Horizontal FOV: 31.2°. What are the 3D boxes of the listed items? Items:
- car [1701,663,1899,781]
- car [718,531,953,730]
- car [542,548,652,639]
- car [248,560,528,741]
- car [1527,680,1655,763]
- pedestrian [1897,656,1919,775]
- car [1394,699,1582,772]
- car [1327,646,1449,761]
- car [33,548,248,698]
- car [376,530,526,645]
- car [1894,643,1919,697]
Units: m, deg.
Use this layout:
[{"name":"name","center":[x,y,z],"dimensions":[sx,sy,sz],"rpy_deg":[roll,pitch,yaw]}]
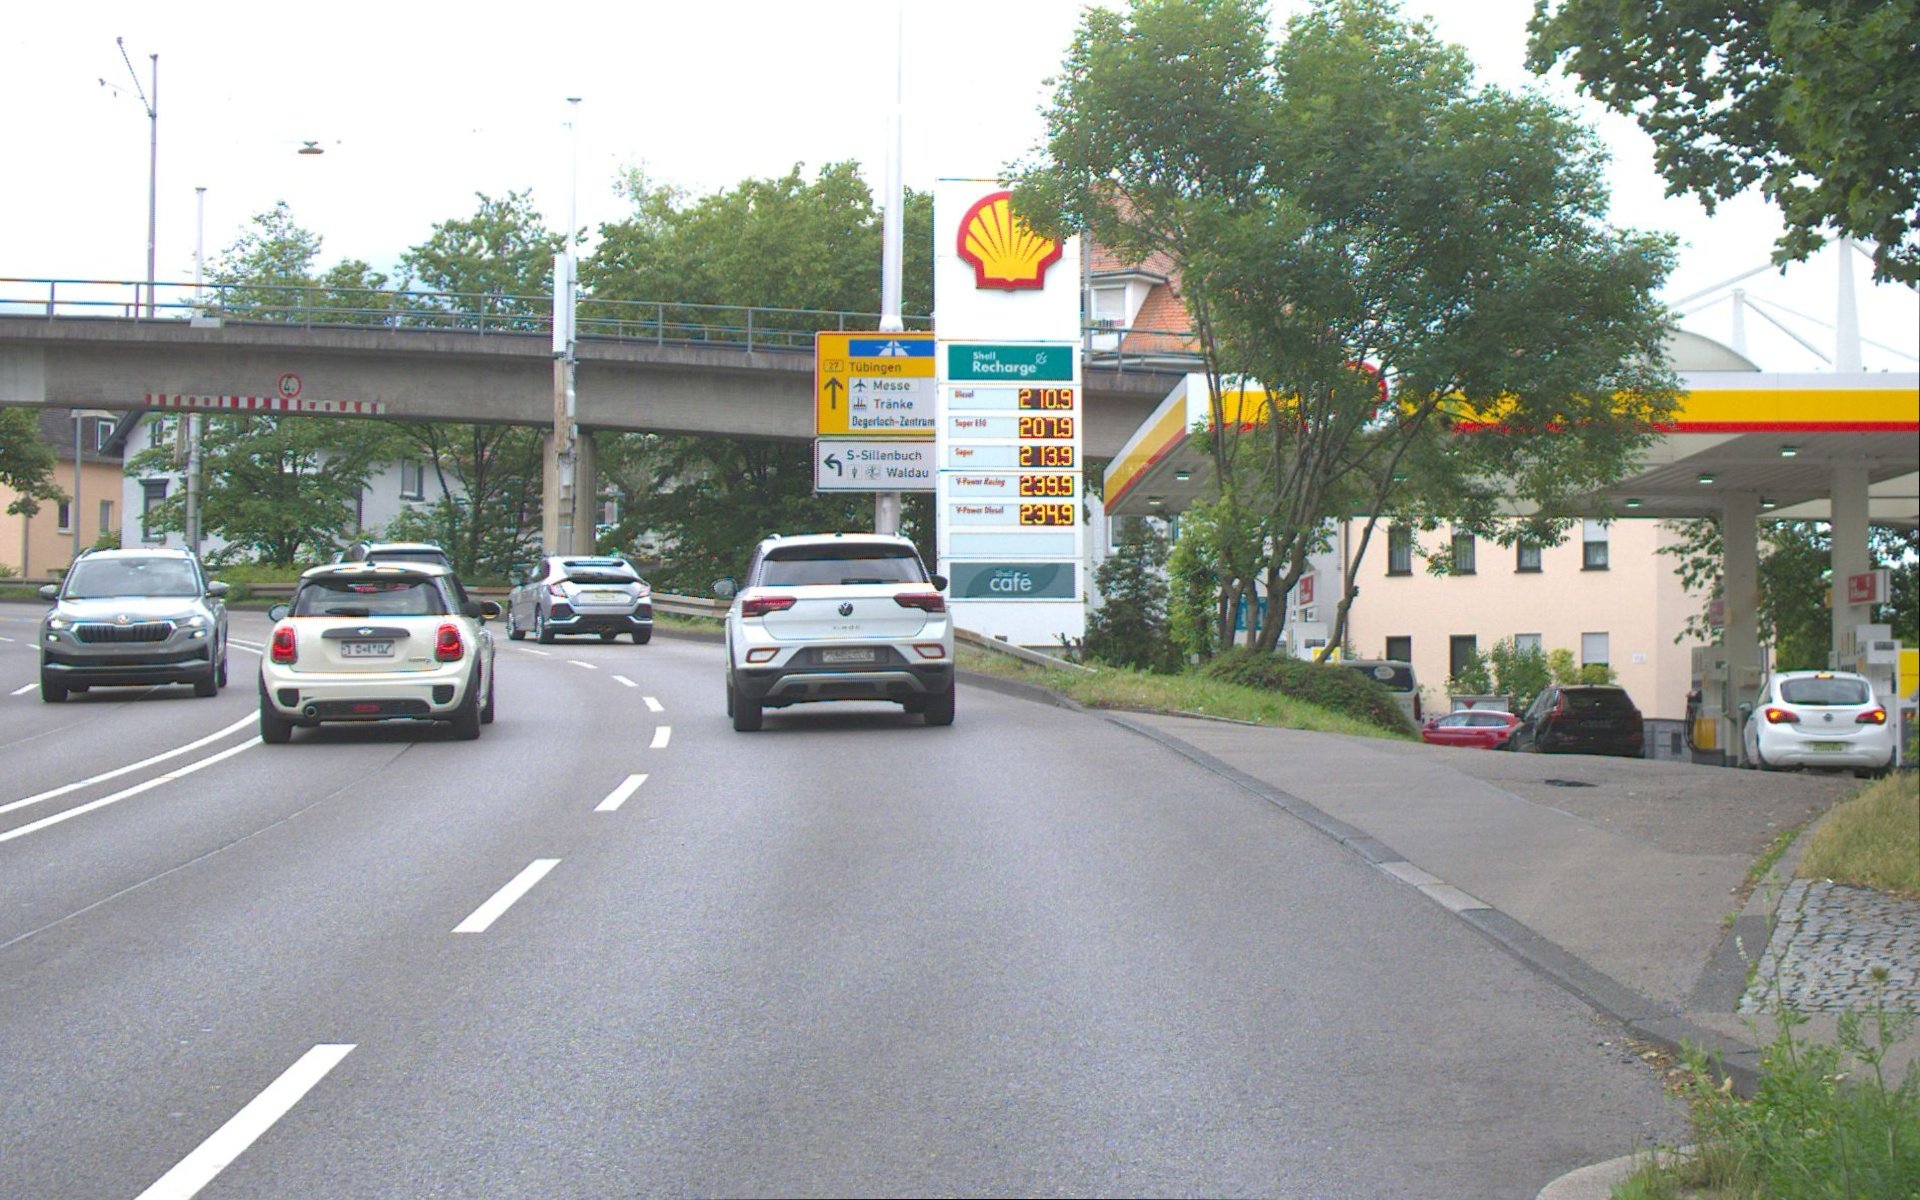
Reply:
[{"name":"car","center":[11.098,1.641,45.664],"dimensions":[1.735,1.481,3.877],"rpy_deg":[-1,-3,1]},{"name":"car","center":[-0.974,0.214,28.207],"dimensions":[1.797,1.514,3.457],"rpy_deg":[1,1,0]},{"name":"car","center":[-5.905,-0.127,55.723],"dimensions":[1.675,1.404,3.457],"rpy_deg":[1,1,-7]},{"name":"car","center":[-4.608,0.367,28.114],"dimensions":[1.722,1.371,3.457],"rpy_deg":[1,1,0]},{"name":"car","center":[11.697,2.281,63.946],"dimensions":[1.735,1.481,3.877],"rpy_deg":[-1,-3,1]},{"name":"pedestrian","center":[13.930,1.667,49.687],"dimensions":[0.542,1.699,0.610],"rpy_deg":[0,0,-6]},{"name":"car","center":[13.174,3.375,85.816],"dimensions":[4.296,1.516,1.621],"rpy_deg":[3,-2,27]},{"name":"car","center":[7.820,1.942,63.169],"dimensions":[1.735,2.004,4.712],"rpy_deg":[-1,-3,1]},{"name":"car","center":[-8.840,0.207,37.365],"dimensions":[1.785,1.533,4.076],"rpy_deg":[0,1,-6]},{"name":"car","center":[-7.532,-0.201,51.143],"dimensions":[1.722,1.634,3.457],"rpy_deg":[1,1,0]},{"name":"car","center":[26.343,1.961,90.491],"dimensions":[3.575,1.345,1.601],"rpy_deg":[7,-4,-40]}]
